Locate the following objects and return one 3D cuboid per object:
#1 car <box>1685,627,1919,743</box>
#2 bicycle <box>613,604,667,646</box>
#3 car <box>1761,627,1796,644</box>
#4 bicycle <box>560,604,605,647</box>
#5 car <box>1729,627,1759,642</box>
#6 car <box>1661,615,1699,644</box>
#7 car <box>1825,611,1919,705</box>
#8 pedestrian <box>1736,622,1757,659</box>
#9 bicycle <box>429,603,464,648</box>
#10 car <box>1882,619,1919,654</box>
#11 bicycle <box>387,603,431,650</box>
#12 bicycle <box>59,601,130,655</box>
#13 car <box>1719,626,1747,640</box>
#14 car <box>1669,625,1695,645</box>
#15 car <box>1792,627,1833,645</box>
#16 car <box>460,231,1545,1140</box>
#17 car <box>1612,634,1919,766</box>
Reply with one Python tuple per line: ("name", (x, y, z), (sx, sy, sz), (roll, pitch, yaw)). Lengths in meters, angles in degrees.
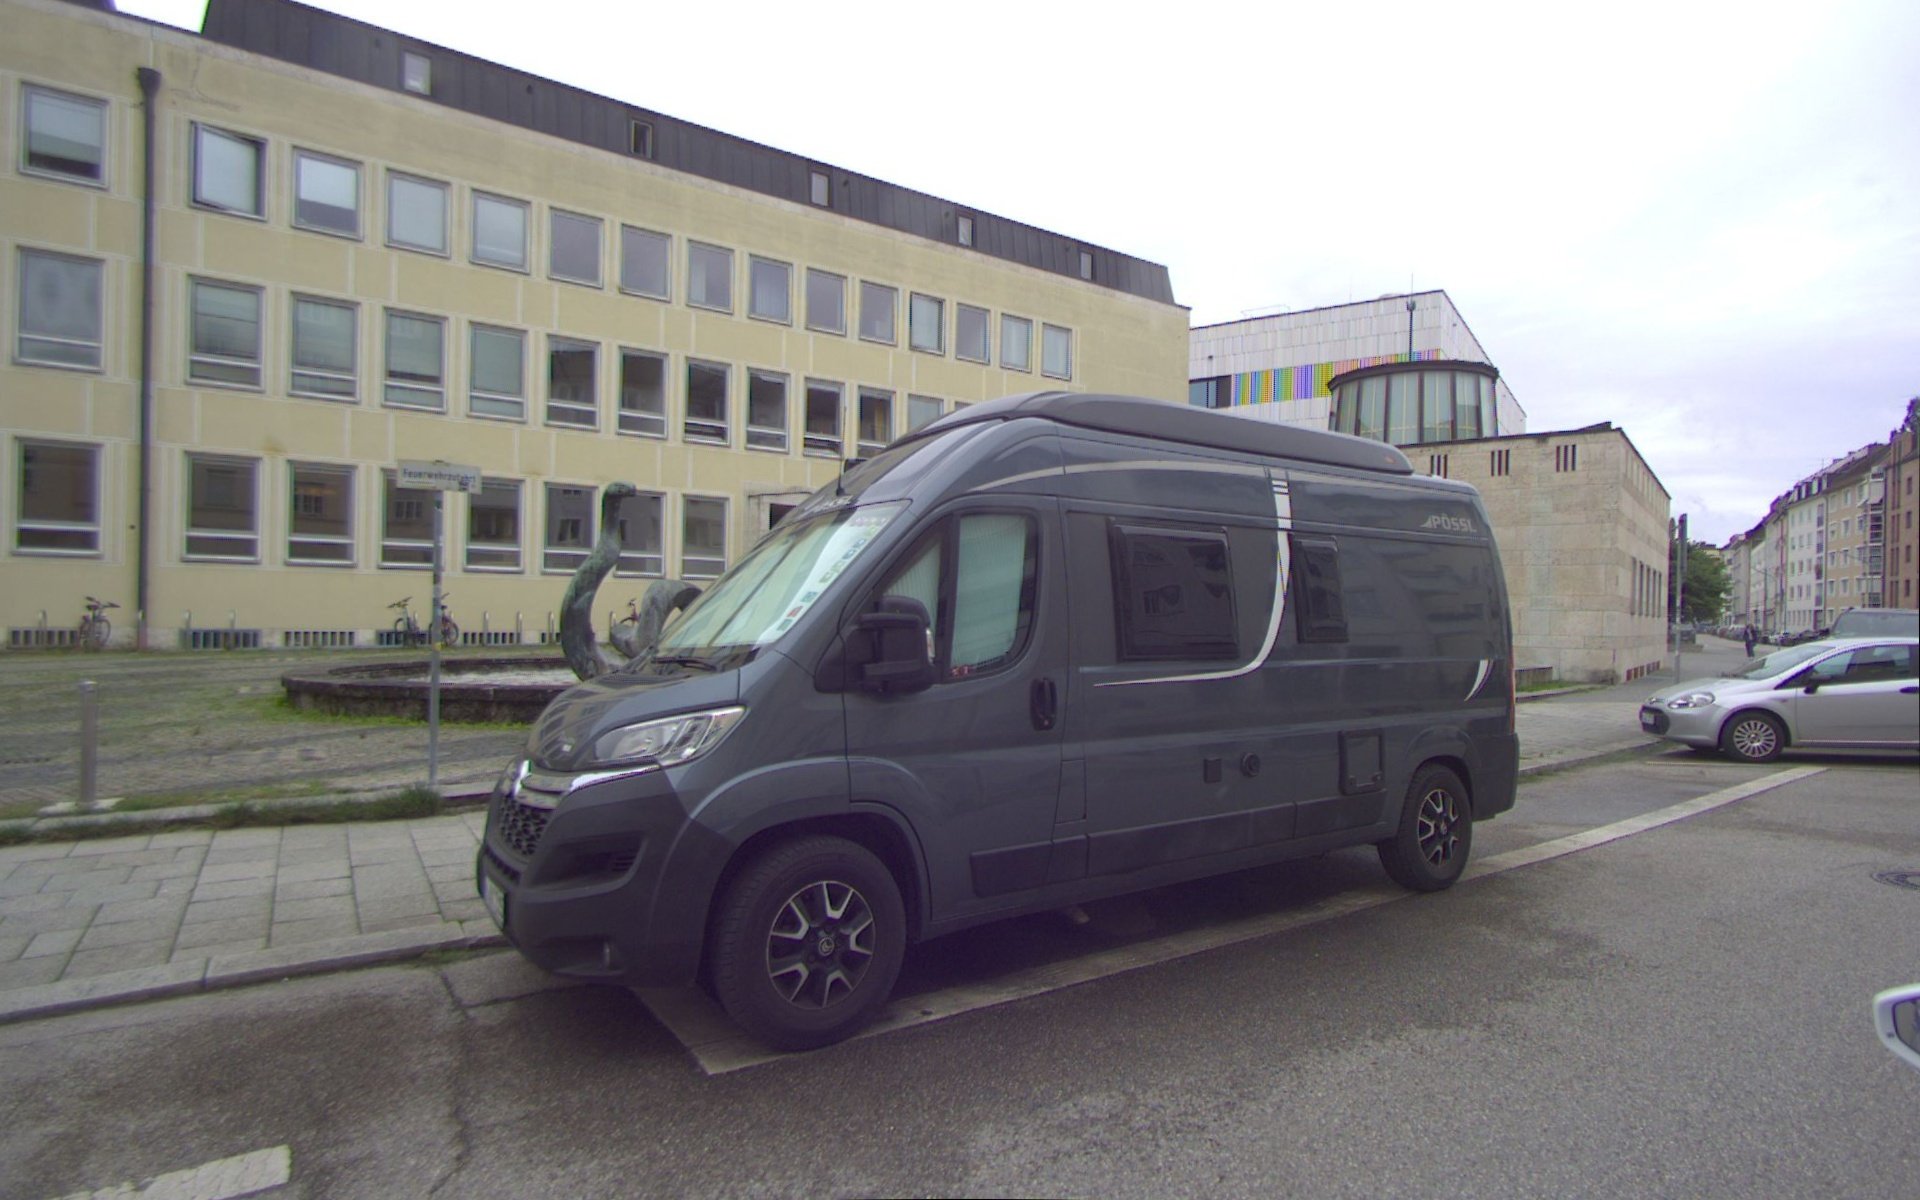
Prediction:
("car", (13.140, 1.202, 14.503), (4.006, 1.501, 1.684), (1, 0, 21))
("bicycle", (-8.368, 0.635, 26.187), (0.621, 1.028, 1.929), (1, 0, -41))
("car", (79.675, 3.400, 97.846), (1.780, 1.492, 4.112), (1, 0, 27))
("bicycle", (-9.634, 0.629, 25.572), (0.619, 1.028, 1.934), (1, 0, -34))
("car", (87.303, 3.812, 111.854), (1.780, 1.492, 4.112), (1, 0, 27))
("car", (47.948, 1.941, 66.954), (1.891, 1.769, 4.763), (1, 0, 34))
("car", (19.128, 1.132, 20.851), (1.660, 1.729, 4.488), (1, 0, 42))
("pedestrian", (38.524, 1.971, 49.198), (0.742, 1.726, 0.922), (2, 1, 41))
("bicycle", (-12.318, 0.593, 24.079), (0.618, 1.028, 1.937), (1, 0, -30))
("car", (55.835, 2.108, 59.125), (1.687, 1.972, 3.987), (1, 0, 35))
("bicycle", (-12.778, 0.599, 23.276), (0.620, 1.028, 1.932), (1, 0, -37))
("bicycle", (-17.469, 0.550, 20.312), (0.617, 1.028, 1.939), (1, 0, -27))
("car", (89.421, 3.780, 116.304), (1.780, 1.492, 4.112), (1, 0, 27))
("car", (70.264, 3.385, 97.820), (1.891, 1.769, 4.763), (1, 0, 34))
("car", (75.801, 3.187, 89.361), (1.780, 1.492, 4.112), (1, 0, 27))
("car", (0.684, 0.304, 5.571), (5.957, 2.677, 2.150), (1, -1, -35))
("car", (10.671, 1.217, 12.452), (4.006, 1.500, 1.685), (-1, -4, 19))
